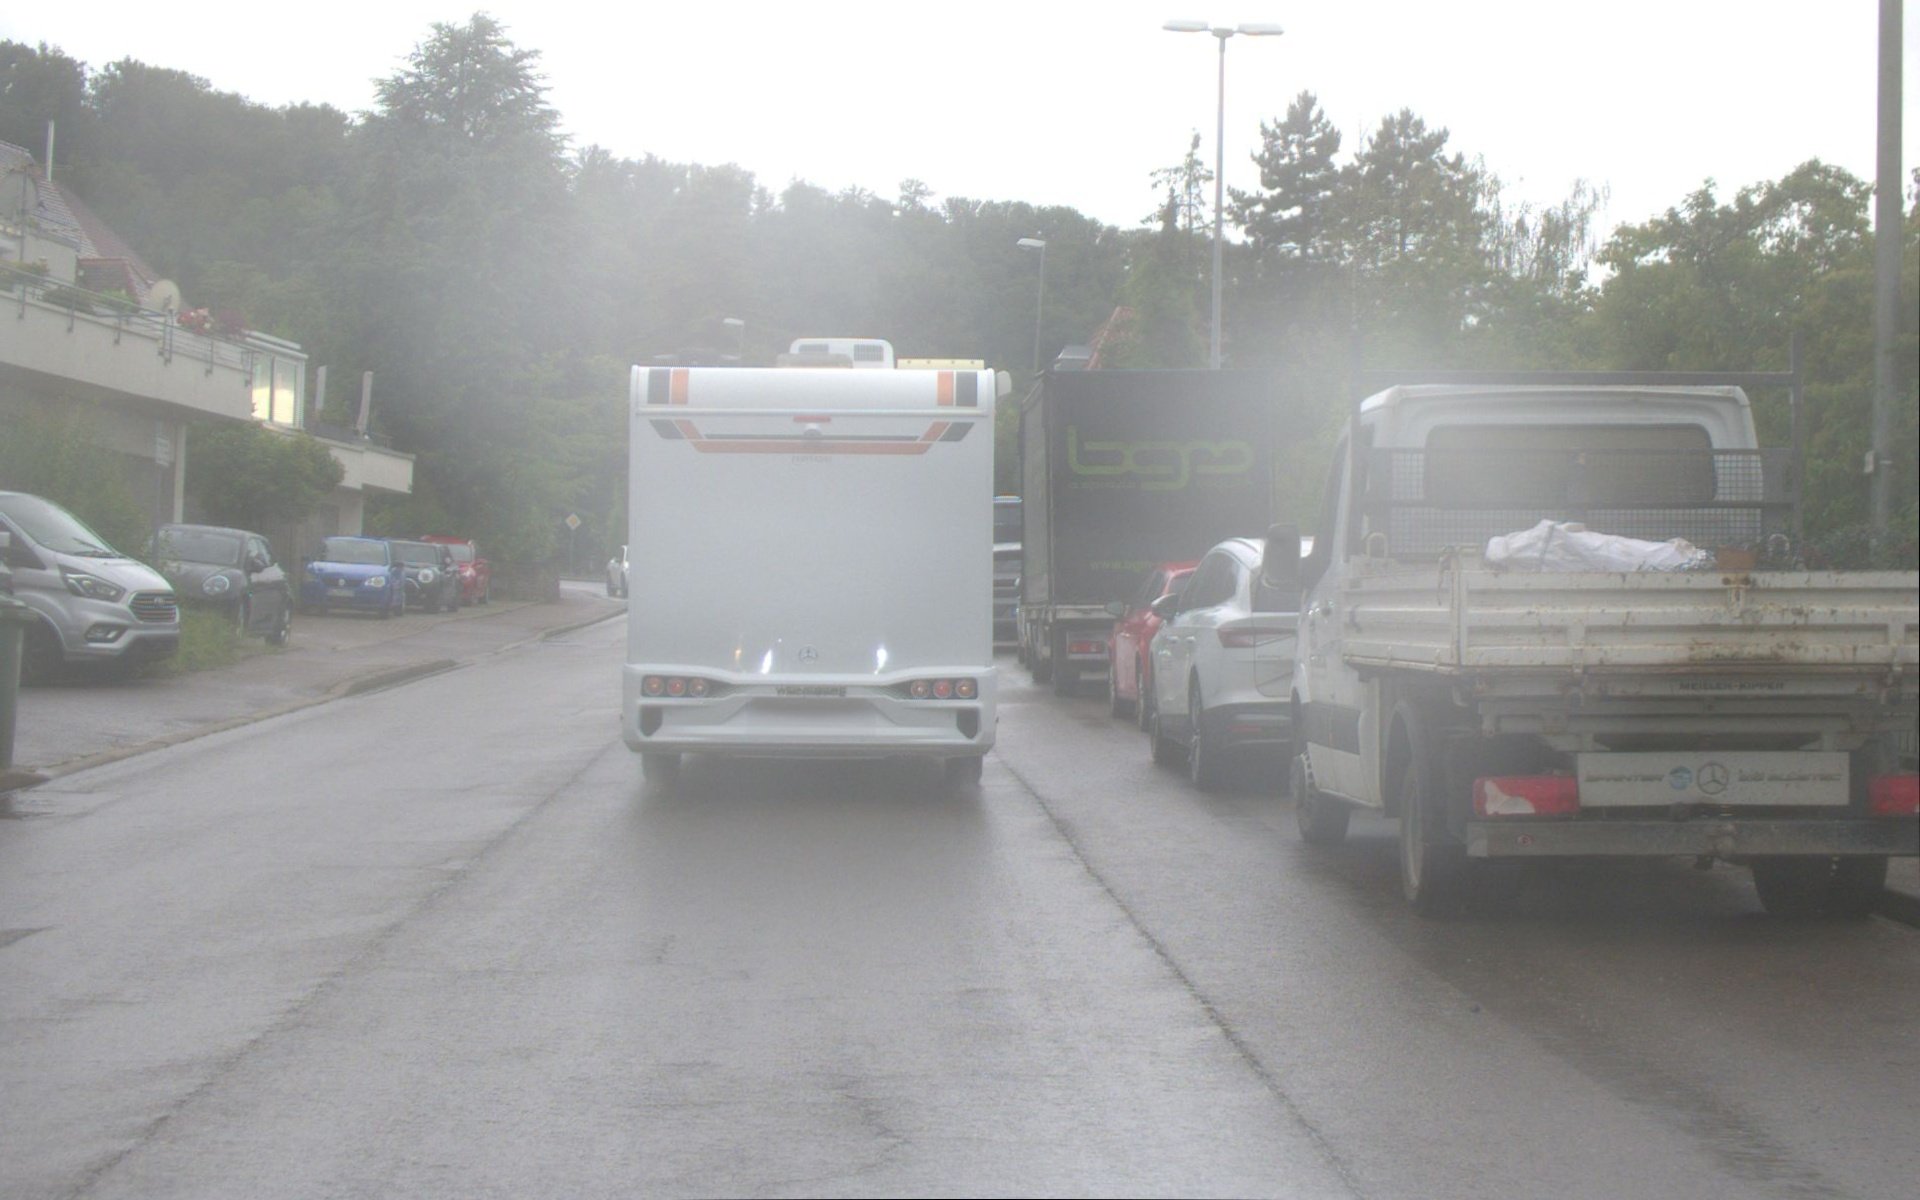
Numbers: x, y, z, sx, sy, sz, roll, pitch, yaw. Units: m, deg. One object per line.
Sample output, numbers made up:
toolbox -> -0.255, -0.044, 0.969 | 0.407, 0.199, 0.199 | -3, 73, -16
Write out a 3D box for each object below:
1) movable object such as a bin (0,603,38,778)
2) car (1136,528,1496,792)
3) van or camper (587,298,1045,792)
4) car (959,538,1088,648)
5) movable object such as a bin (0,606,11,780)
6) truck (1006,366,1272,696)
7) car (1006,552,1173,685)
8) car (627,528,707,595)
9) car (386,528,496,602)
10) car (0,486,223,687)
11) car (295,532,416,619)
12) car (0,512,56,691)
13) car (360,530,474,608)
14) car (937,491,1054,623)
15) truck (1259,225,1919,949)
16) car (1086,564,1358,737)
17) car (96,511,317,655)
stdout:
movable object such as a bin -> -6.160, 0.553, 21.551 | 0.602, 1.060, 0.698 | 2, 1, -6
car -> 2.286, 0.348, 23.254 | 1.759, 1.599, 4.667 | 0, 0, -2
van or camper -> -0.921, -0.284, 23.426 | 2.615, 2.843, 6.031 | 2, -1, -1
car -> 0.964, -0.138, 54.455 | 1.936, 1.666, 4.694 | 0, 1, 0
movable object such as a bin -> -6.129, 0.562, 20.838 | 0.602, 1.060, 0.638 | 2, 1, -6
truck -> 1.853, -0.721, 38.573 | 2.436, 3.324, 7.965 | 0, 0, -1
car -> 1.676, 0.214, 46.271 | 1.846, 1.678, 5.639 | 0, 0, -2
car -> -7.405, -0.982, 87.112 | 1.906, 1.602, 4.429 | 2, 1, -4
car -> -11.645, -0.799, 77.371 | 1.774, 1.432, 4.588 | 6, 1, -2
car -> -10.295, -0.153, 34.884 | 5.088, 1.938, 2.140 | 0, 0, 15
car -> -11.117, -0.475, 63.434 | 1.607, 1.429, 3.959 | 5, 1, -3
car -> -10.730, -0.066, 31.934 | 4.057, 1.632, 1.892 | 2, 0, 15
car -> -10.933, -0.642, 69.443 | 1.633, 1.391, 4.239 | 5, 1, -2
car -> 0.658, -0.852, 68.018 | 2.031, 2.497, 5.956 | 0, 1, -2
truck -> 2.816, -0.069, 15.736 | 2.239, 2.622, 6.538 | 0, 0, -1
car -> 2.260, 0.397, 30.956 | 1.832, 1.433, 4.987 | 0, 0, -3
car -> -9.723, -0.240, 44.675 | 1.689, 1.583, 4.197 | 7, 1, 1
